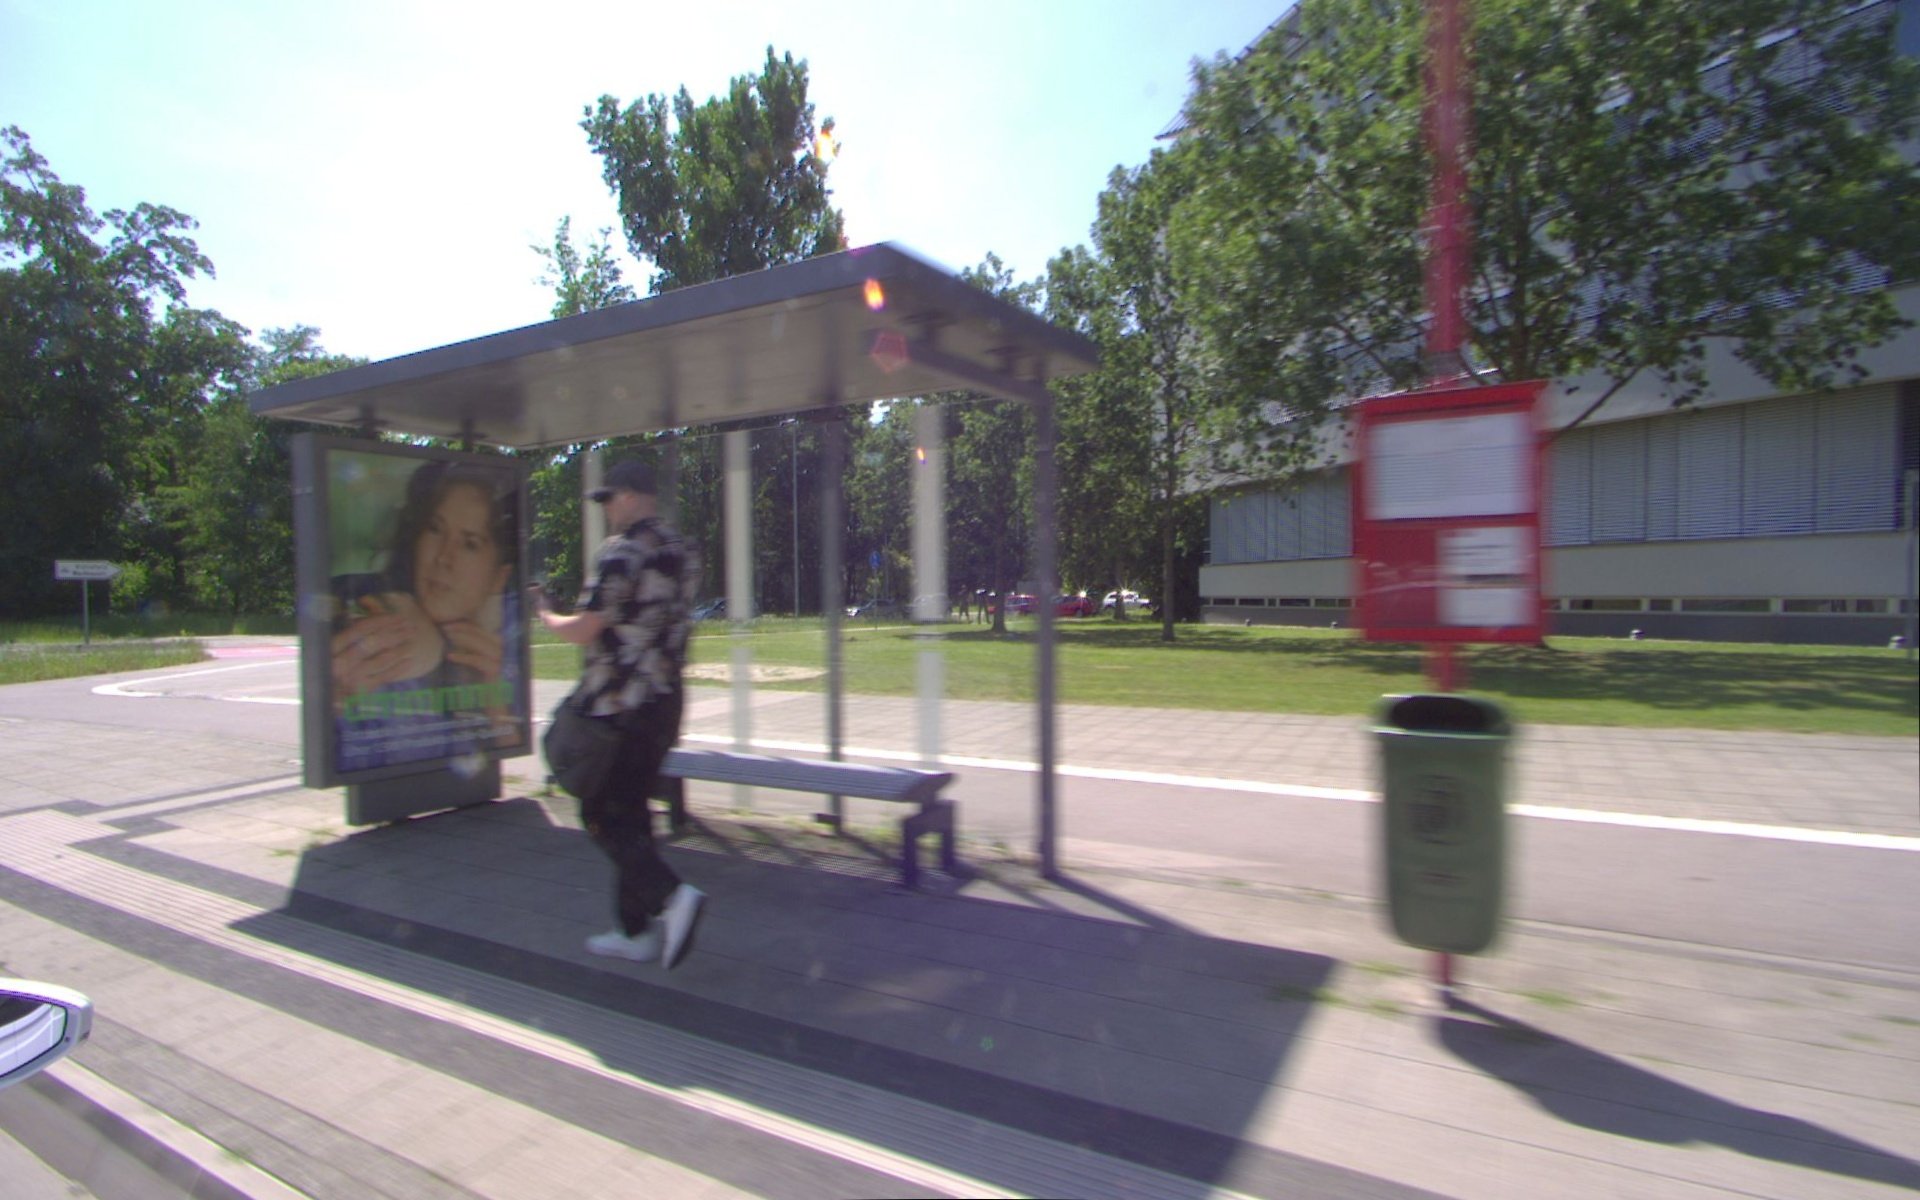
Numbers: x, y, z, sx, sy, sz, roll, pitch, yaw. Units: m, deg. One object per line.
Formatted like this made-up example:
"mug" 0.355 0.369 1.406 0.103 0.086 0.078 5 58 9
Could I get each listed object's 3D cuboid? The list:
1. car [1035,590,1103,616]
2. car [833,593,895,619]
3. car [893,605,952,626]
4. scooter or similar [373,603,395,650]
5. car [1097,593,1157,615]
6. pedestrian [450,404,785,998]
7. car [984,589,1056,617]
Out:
"car" 6.559 0.207 60.270 3.631 1.502 1.860 -1 0 31
"car" -5.890 0.383 61.844 1.679 1.506 3.976 3 1 34
"car" -2.494 1.031 67.139 1.973 1.327 3.977 -1 -1 34
"scooter or similar" -15.467 0.702 26.887 0.442 1.217 1.390 0 0 -32
"car" 11.468 0.297 68.732 3.631 1.502 1.860 -1 0 31
"pedestrian" -1.211 0.314 3.610 0.814 1.847 0.706 0 3 30
"car" 3.367 0.182 56.509 3.631 1.502 1.860 -1 0 31
